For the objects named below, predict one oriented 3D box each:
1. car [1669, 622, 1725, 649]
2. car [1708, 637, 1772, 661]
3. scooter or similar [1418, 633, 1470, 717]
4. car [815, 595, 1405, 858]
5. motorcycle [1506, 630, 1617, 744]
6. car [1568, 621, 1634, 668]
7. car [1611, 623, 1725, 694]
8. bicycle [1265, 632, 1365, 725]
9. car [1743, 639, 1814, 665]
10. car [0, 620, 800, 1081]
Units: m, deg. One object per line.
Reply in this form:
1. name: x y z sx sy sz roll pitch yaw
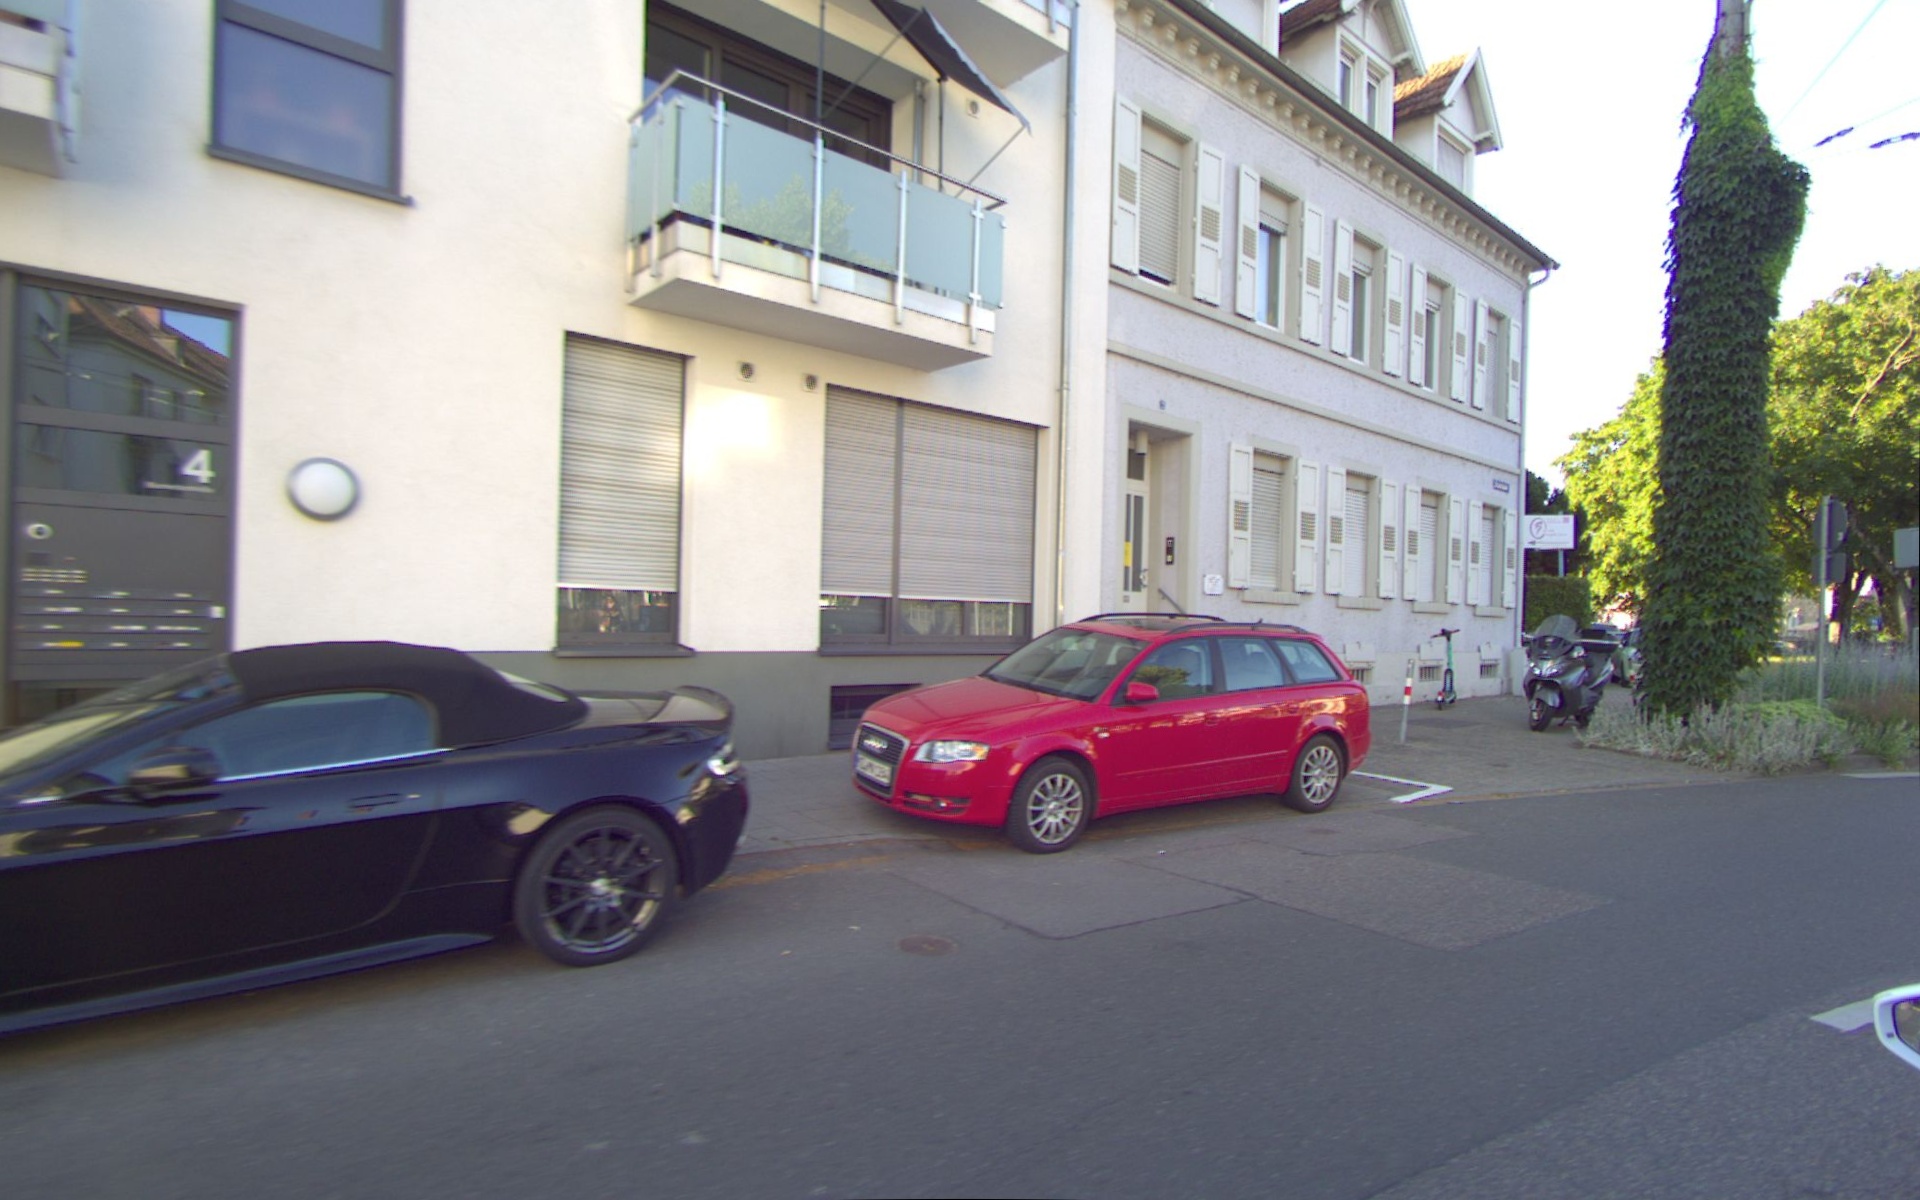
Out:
1. car: 63.823 3.039 87.079 2.300 2.068 4.931 2 0 16
2. car: 62.272 3.865 80.294 2.300 1.617 4.931 2 0 16
3. scooter or similar: 7.733 1.162 16.021 0.501 1.245 1.536 2 0 34
4. car: 1.314 0.784 7.855 4.541 1.486 1.699 1 2 -33
5. motorcycle: 8.294 1.131 13.792 0.919 1.375 2.553 2 0 39
6. car: 25.524 1.720 40.128 1.906 1.685 4.502 2 0 29
7. car: 17.710 1.395 25.296 1.781 1.557 3.905 2 0 28
8. bicycle: 4.762 1.010 13.401 0.570 1.124 1.861 2 0 41
9. car: 60.882 3.831 74.855 2.300 1.617 4.931 2 0 16
10. car: -2.841 0.800 4.094 3.989 1.290 1.652 3 1 -37
